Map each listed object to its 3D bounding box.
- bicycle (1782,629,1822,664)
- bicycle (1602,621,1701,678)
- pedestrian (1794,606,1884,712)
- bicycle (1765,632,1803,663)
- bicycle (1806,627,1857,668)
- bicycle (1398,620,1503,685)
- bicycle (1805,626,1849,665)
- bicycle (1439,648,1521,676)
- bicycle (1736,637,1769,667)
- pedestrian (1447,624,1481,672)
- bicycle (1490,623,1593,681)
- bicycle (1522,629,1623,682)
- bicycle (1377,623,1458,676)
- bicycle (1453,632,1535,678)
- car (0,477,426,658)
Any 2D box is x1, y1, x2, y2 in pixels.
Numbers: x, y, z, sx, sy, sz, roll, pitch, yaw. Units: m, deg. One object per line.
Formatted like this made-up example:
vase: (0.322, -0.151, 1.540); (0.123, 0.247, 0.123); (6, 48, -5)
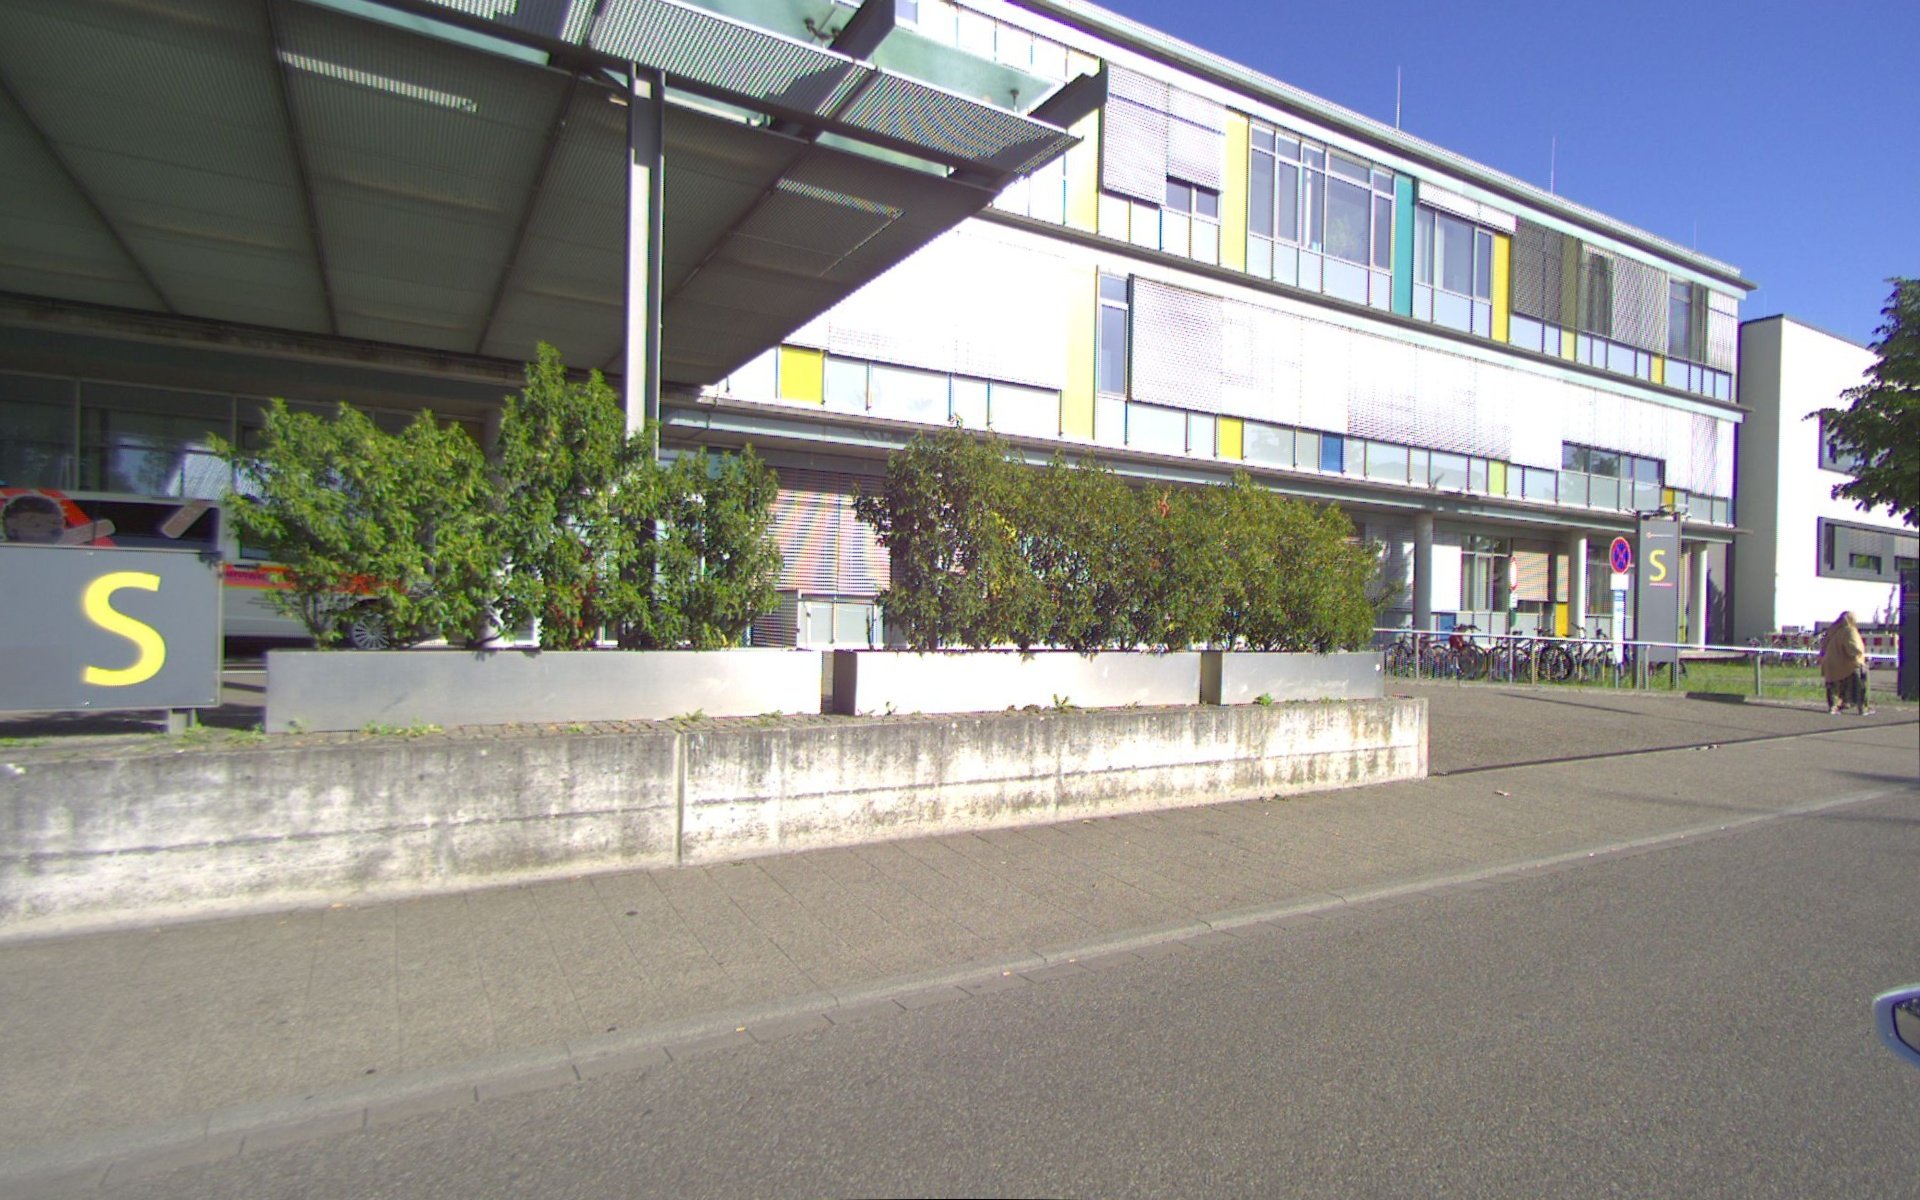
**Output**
bicycle: (24.352, 1.337, 29.040); (1.433, 1.002, 0.393); (1, 0, -30)
bicycle: (14.584, 1.028, 21.228); (0.529, 1.136, 1.698); (1, 0, -24)
pedestrian: (13.690, 0.908, 15.658); (0.770, 1.570, 0.770); (2, 1, -27)
bicycle: (24.198, 1.393, 29.484); (1.433, 0.875, 0.367); (1, 0, -30)
bicycle: (24.914, 1.355, 28.708); (1.839, 1.126, 0.532); (1, 0, -30)
bicycle: (9.106, 0.953, 18.701); (0.532, 1.138, 1.701); (1, -1, -39)
bicycle: (25.785, 1.334, 29.873); (1.742, 1.138, 0.418); (1, 0, -30)
bicycle: (12.252, 1.453, 23.714); (0.530, 0.559, 1.706); (1, -1, -31)
bicycle: (24.015, 1.566, 30.428); (1.433, 0.885, 0.253); (1, 0, -30)
pedestrian: (12.808, 1.202, 25.526); (0.549, 1.189, 0.529); (1, 0, -29)
bicycle: (11.348, 0.993, 19.658); (0.530, 1.069, 1.706); (1, -1, -31)
bicycle: (12.441, 1.108, 20.441); (0.530, 0.987, 1.706); (1, -1, -31)
bicycle: (10.537, 1.122, 23.180); (0.530, 1.138, 1.706); (1, 0, -31)
bicycle: (12.760, 1.297, 24.042); (0.530, 1.007, 1.706); (1, -1, -31)
car: (-9.192, -0.316, 12.263); (4.656, 1.916, 1.910); (1, 0, -31)
